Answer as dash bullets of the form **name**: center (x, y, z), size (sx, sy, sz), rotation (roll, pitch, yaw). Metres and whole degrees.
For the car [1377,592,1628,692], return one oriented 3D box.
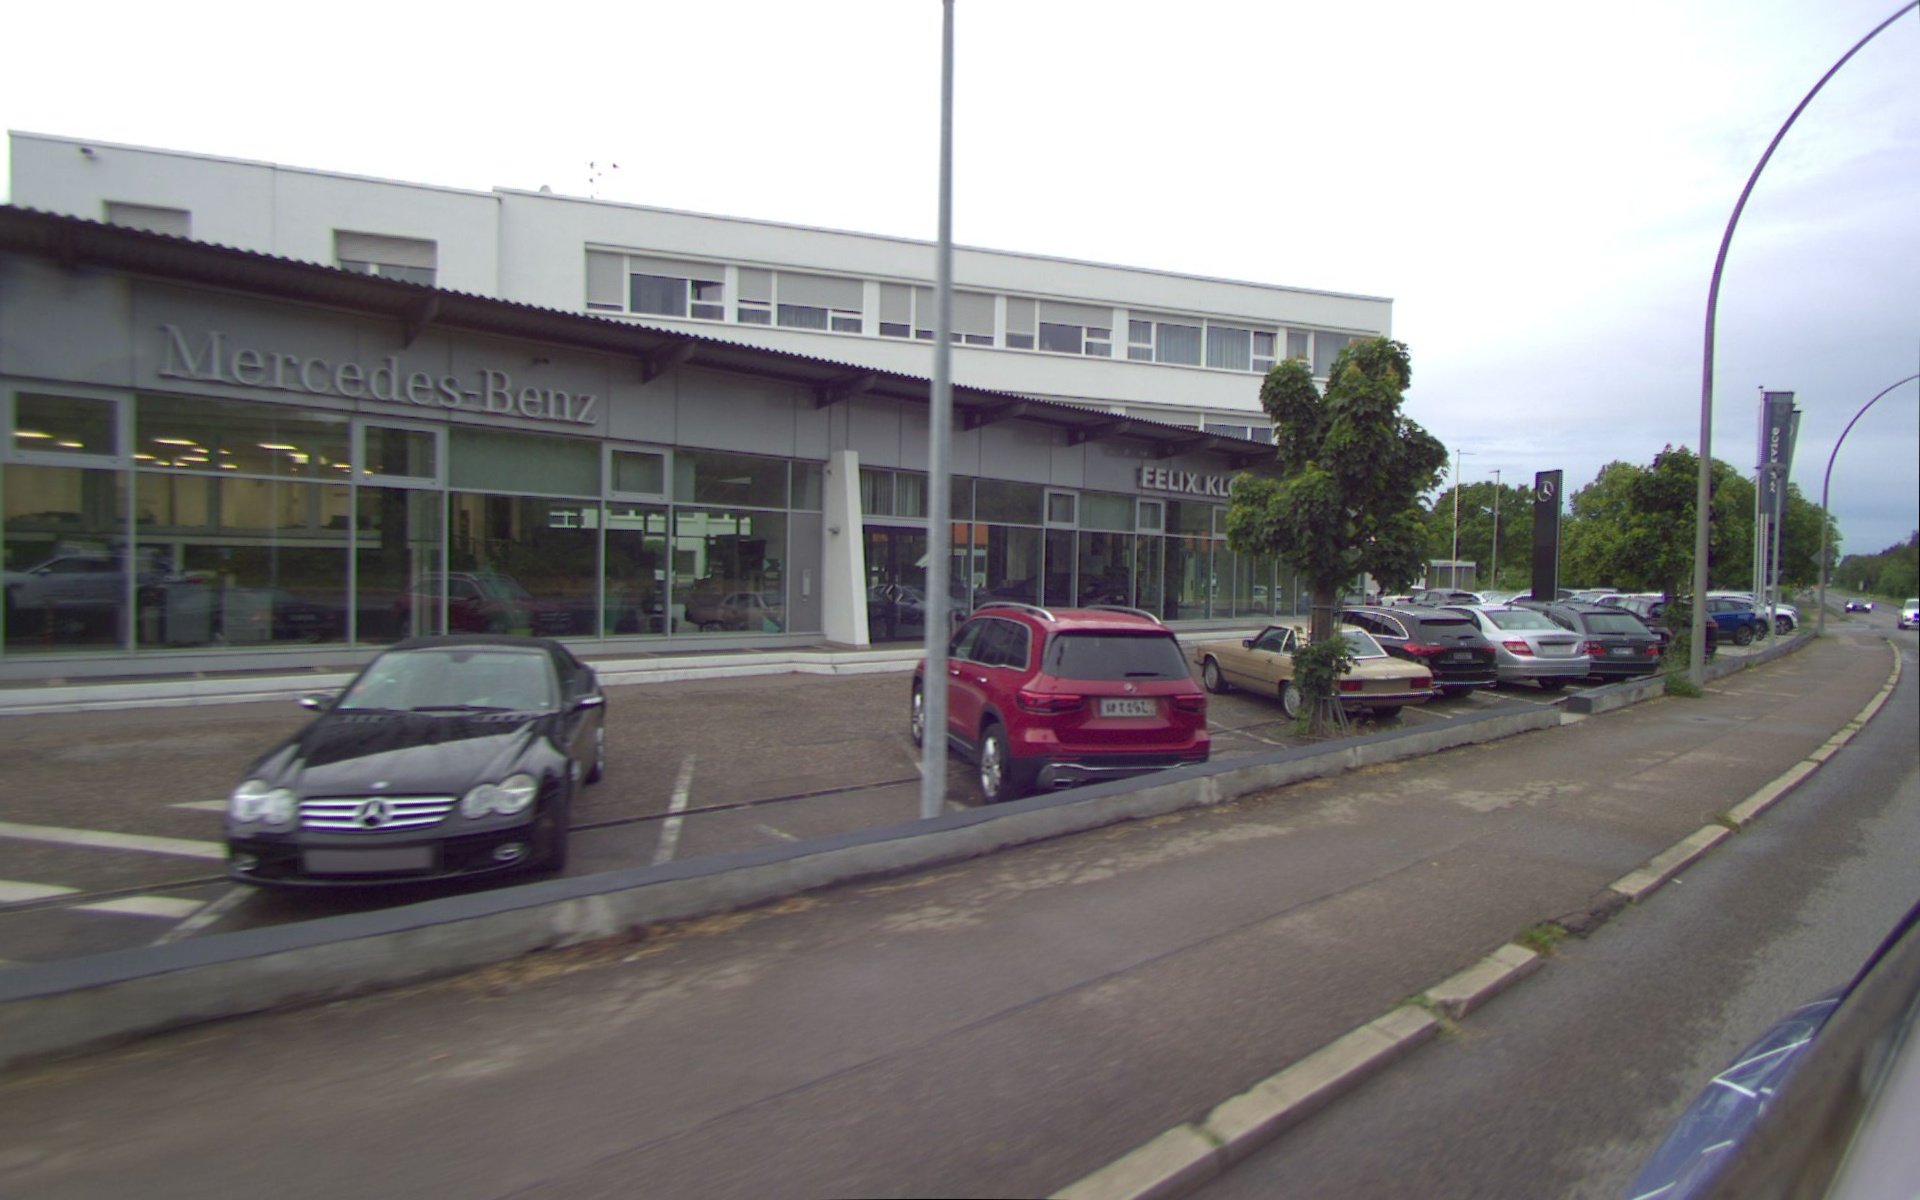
- **car**: center (9.706, 0.664, 18.558), size (1.799, 1.485, 4.183), rotation (0, 2, -10)

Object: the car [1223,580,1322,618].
- **car**: center (13.497, -0.075, 43.991), size (1.958, 1.460, 4.421), rotation (2, 1, -17)

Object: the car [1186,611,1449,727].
- **car**: center (5.243, 0.935, 15.517), size (1.699, 1.317, 4.245), rotation (-2, 2, -14)

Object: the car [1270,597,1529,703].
- **car**: center (7.235, 0.754, 17.158), size (1.934, 1.511, 3.977), rotation (-2, 0, -15)

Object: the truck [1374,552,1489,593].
- **truck**: center (33.809, -1.977, 72.532), size (8.301, 2.656, 2.793), rotation (-2, 0, -26)

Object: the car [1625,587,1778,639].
- **car**: center (25.981, 0.434, 35.519), size (4.276, 1.652, 1.848), rotation (1, 3, -11)

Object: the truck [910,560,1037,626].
- **truck**: center (0.730, -0.398, 56.475), size (6.510, 3.457, 2.577), rotation (-2, 0, -17)

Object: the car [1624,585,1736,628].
- **car**: center (29.125, 0.237, 41.003), size (3.485, 1.619, 1.668), rotation (1, 2, -10)

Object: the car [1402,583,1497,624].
- **car**: center (20.161, 0.119, 41.823), size (1.744, 1.496, 3.570), rotation (1, 2, -9)

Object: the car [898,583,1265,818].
- **car**: center (0.834, 0.750, 9.996), size (1.958, 1.683, 4.707), rotation (-2, 0, -15)

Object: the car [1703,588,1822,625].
- **car**: center (38.308, 0.297, 48.372), size (4.277, 1.692, 1.968), rotation (0, 1, -5)

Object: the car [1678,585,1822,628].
- **car**: center (33.221, 0.256, 42.679), size (4.353, 1.673, 1.923), rotation (1, 1, 8)

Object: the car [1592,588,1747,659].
- **car**: center (18.491, 0.540, 26.647), size (1.816, 1.628, 4.529), rotation (2, 1, 15)

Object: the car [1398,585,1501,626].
- **car**: center (22.395, 0.243, 46.369), size (3.904, 1.662, 1.775), rotation (-3, 0, -12)

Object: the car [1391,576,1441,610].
- **car**: center (22.948, -0.347, 51.058), size (1.747, 1.571, 3.433), rotation (2, 0, 16)

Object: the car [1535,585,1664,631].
- **car**: center (23.982, 0.294, 37.981), size (4.091, 1.619, 1.736), rotation (1, 2, -16)

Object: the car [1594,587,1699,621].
- **car**: center (32.544, 0.151, 47.980), size (4.273, 1.518, 1.970), rotation (0, 1, -20)

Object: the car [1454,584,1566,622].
- **car**: center (23.717, 0.123, 43.694), size (3.916, 1.564, 1.907), rotation (1, 1, -13)

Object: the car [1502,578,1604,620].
- **car**: center (27.533, -0.037, 47.043), size (3.917, 1.742, 1.682), rotation (-3, 0, -12)

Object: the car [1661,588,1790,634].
- **car**: center (28.991, 0.406, 38.373), size (3.736, 1.619, 1.735), rotation (1, 2, -10)

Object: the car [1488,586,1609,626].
- **car**: center (23.684, 0.231, 40.802), size (3.916, 1.564, 1.907), rotation (1, 1, -12)

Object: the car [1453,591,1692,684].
- **car**: center (11.801, 0.658, 19.874), size (1.860, 1.575, 4.005), rotation (-2, 0, -8)

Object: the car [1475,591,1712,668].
- **car**: center (13.965, 0.584, 22.670), size (1.894, 1.498, 4.452), rotation (1, 1, -12)

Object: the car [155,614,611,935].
- **car**: center (-3.621, 0.900, 7.232), size (1.772, 1.459, 4.174), rotation (1, 1, -14)
